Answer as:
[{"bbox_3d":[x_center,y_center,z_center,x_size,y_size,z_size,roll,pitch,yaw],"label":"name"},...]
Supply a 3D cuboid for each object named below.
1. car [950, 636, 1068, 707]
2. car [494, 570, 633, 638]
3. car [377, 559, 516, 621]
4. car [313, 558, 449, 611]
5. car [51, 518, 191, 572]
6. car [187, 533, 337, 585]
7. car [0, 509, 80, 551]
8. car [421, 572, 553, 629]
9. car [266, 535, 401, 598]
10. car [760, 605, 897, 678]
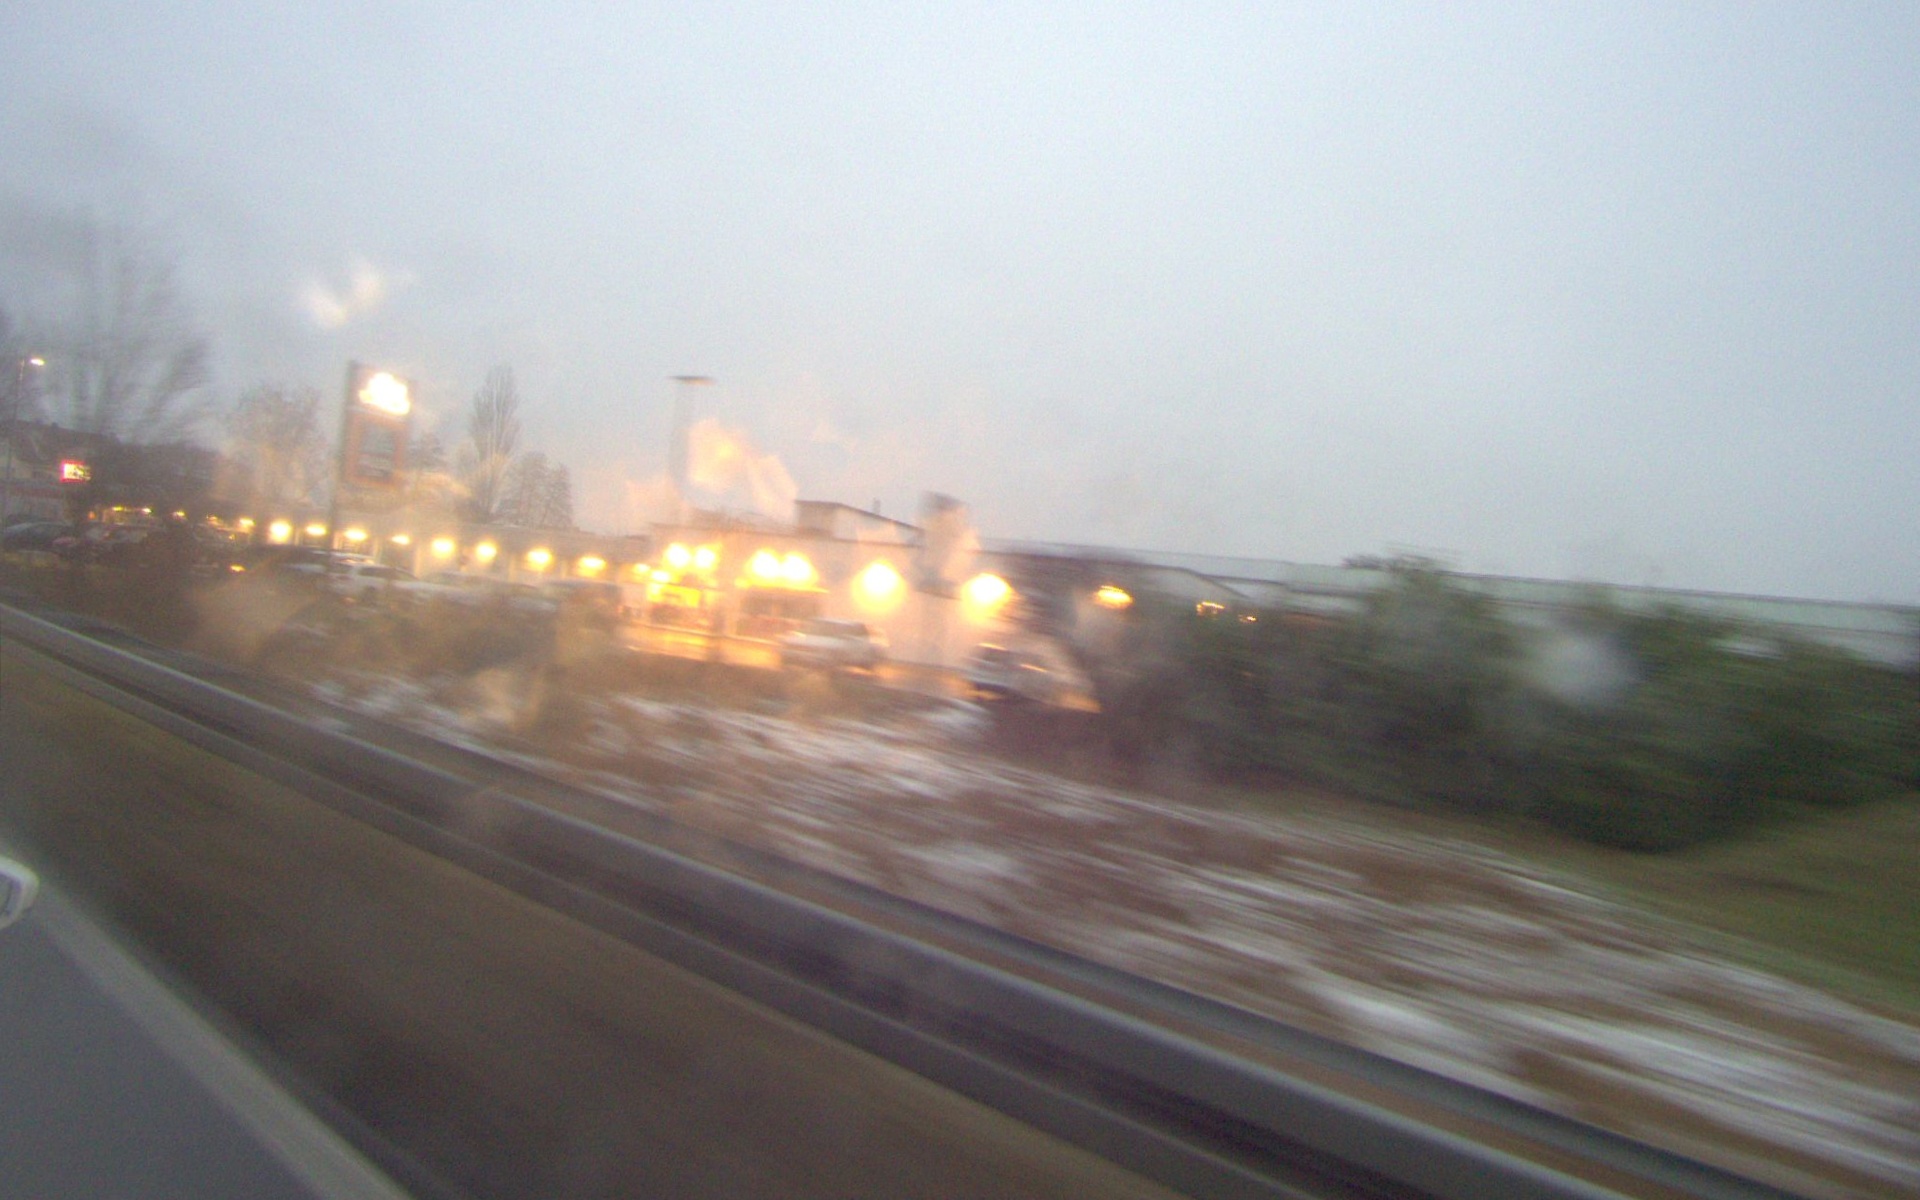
[{"bbox_3d":[1.469,2.036,28.333,1.963,1.535,4.195,9,-1,20],"label":"car"},{"bbox_3d":[-13.284,0.210,34.004,1.962,1.877,4.263,7,-1,17],"label":"car"},{"bbox_3d":[-18.547,-0.318,36.578,1.962,1.648,4.266,8,-2,17],"label":"car"},{"bbox_3d":[-21.291,-0.538,37.180,1.632,1.439,4.142,7,-1,22],"label":"car"},{"bbox_3d":[-36.101,-2.325,43.418,1.983,1.745,4.143,6,-1,16],"label":"car"},{"bbox_3d":[-27.259,-1.553,39.495,1.631,1.507,4.737,5,-1,18],"label":"car"},{"bbox_3d":[-41.717,-3.163,44.670,1.632,1.440,3.548,5,-2,24],"label":"car"},{"bbox_3d":[-16.397,0.065,35.089,1.962,1.494,3.880,7,-2,17],"label":"car"},{"bbox_3d":[-23.900,-1.240,38.567,1.631,1.856,4.144,5,-3,19],"label":"car"},{"bbox_3d":[-3.821,1.300,30.152,1.963,1.734,4.407,7,-2,23],"label":"car"}]
